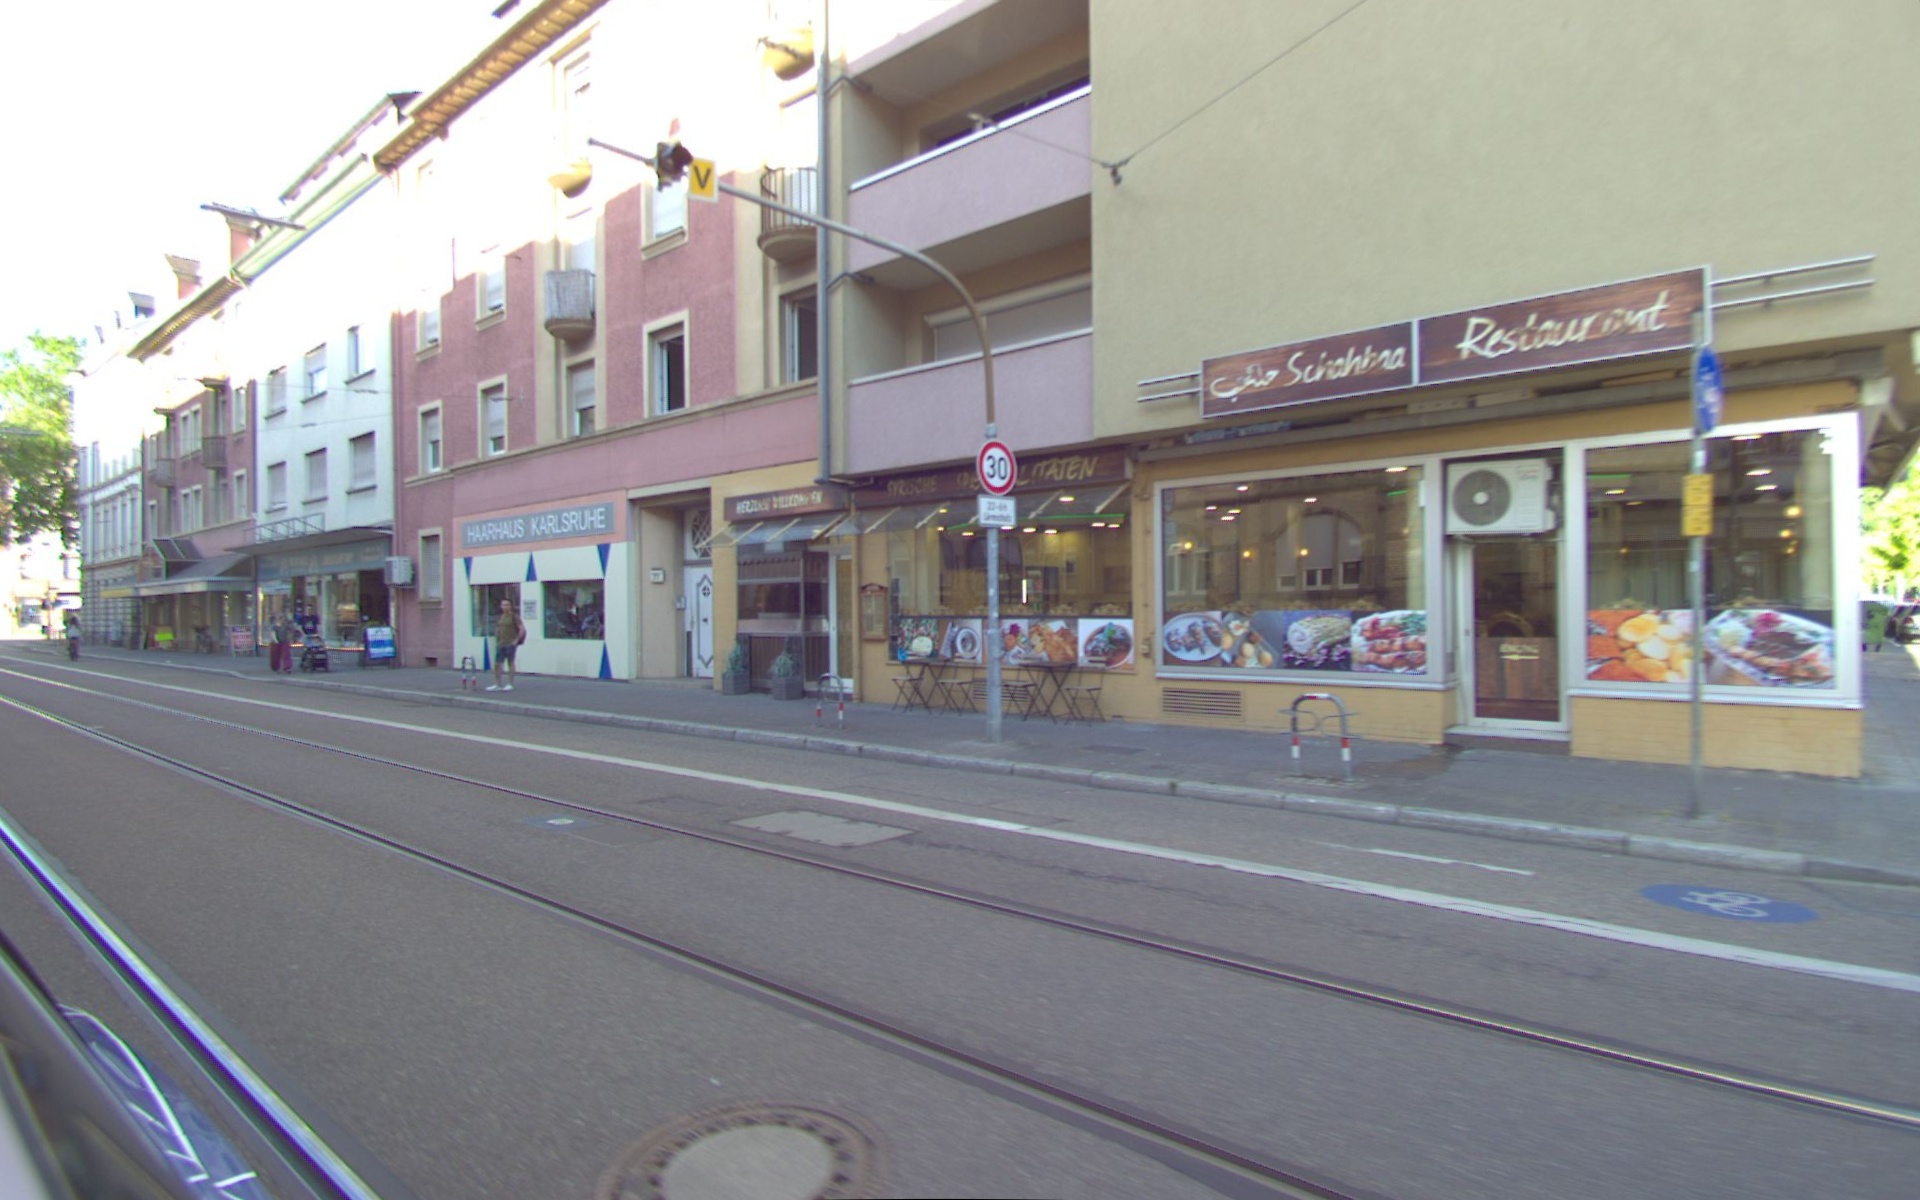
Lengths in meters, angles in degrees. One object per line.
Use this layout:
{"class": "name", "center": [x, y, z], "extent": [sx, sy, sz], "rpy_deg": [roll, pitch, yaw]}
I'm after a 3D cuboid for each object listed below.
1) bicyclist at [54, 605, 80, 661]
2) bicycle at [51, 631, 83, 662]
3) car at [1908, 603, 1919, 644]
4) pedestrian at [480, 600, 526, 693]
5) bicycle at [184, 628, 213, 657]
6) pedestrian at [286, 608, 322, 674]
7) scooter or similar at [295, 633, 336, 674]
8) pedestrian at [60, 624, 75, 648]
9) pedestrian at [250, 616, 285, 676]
{"class": "bicyclist", "center": [-32.824, 1.204, 37.200], "extent": [0.733, 2.029, 0.605], "rpy_deg": [-1, 0, 41]}
{"class": "bicycle", "center": [-32.853, 1.691, 37.223], "extent": [2.043, 1.104, 0.595], "rpy_deg": [-1, -3, 42]}
{"class": "car", "center": [33.753, 0.774, 34.758], "extent": [1.506, 1.316, 3.520], "rpy_deg": [-1, 0, 39]}
{"class": "pedestrian", "center": [-8.613, 0.857, 19.082], "extent": [0.616, 1.698, 0.557], "rpy_deg": [-1, 0, 40]}
{"class": "bicycle", "center": [-29.690, 1.631, 39.447], "extent": [2.328, 1.067, 0.420], "rpy_deg": [-1, 0, 41]}
{"class": "pedestrian", "center": [-18.407, 1.132, 28.402], "extent": [0.820, 1.803, 0.619], "rpy_deg": [-1, 0, 41]}
{"class": "scooter or similar", "center": [-17.666, 1.464, 27.740], "extent": [1.104, 1.069, 0.655], "rpy_deg": [-2, 0, 41]}
{"class": "pedestrian", "center": [-70.071, 2.812, 79.436], "extent": [0.809, 1.861, 0.784], "rpy_deg": [-1, 0, 44]}
{"class": "pedestrian", "center": [-18.716, 1.234, 27.366], "extent": [0.623, 1.560, 0.629], "rpy_deg": [-1, 0, 40]}
